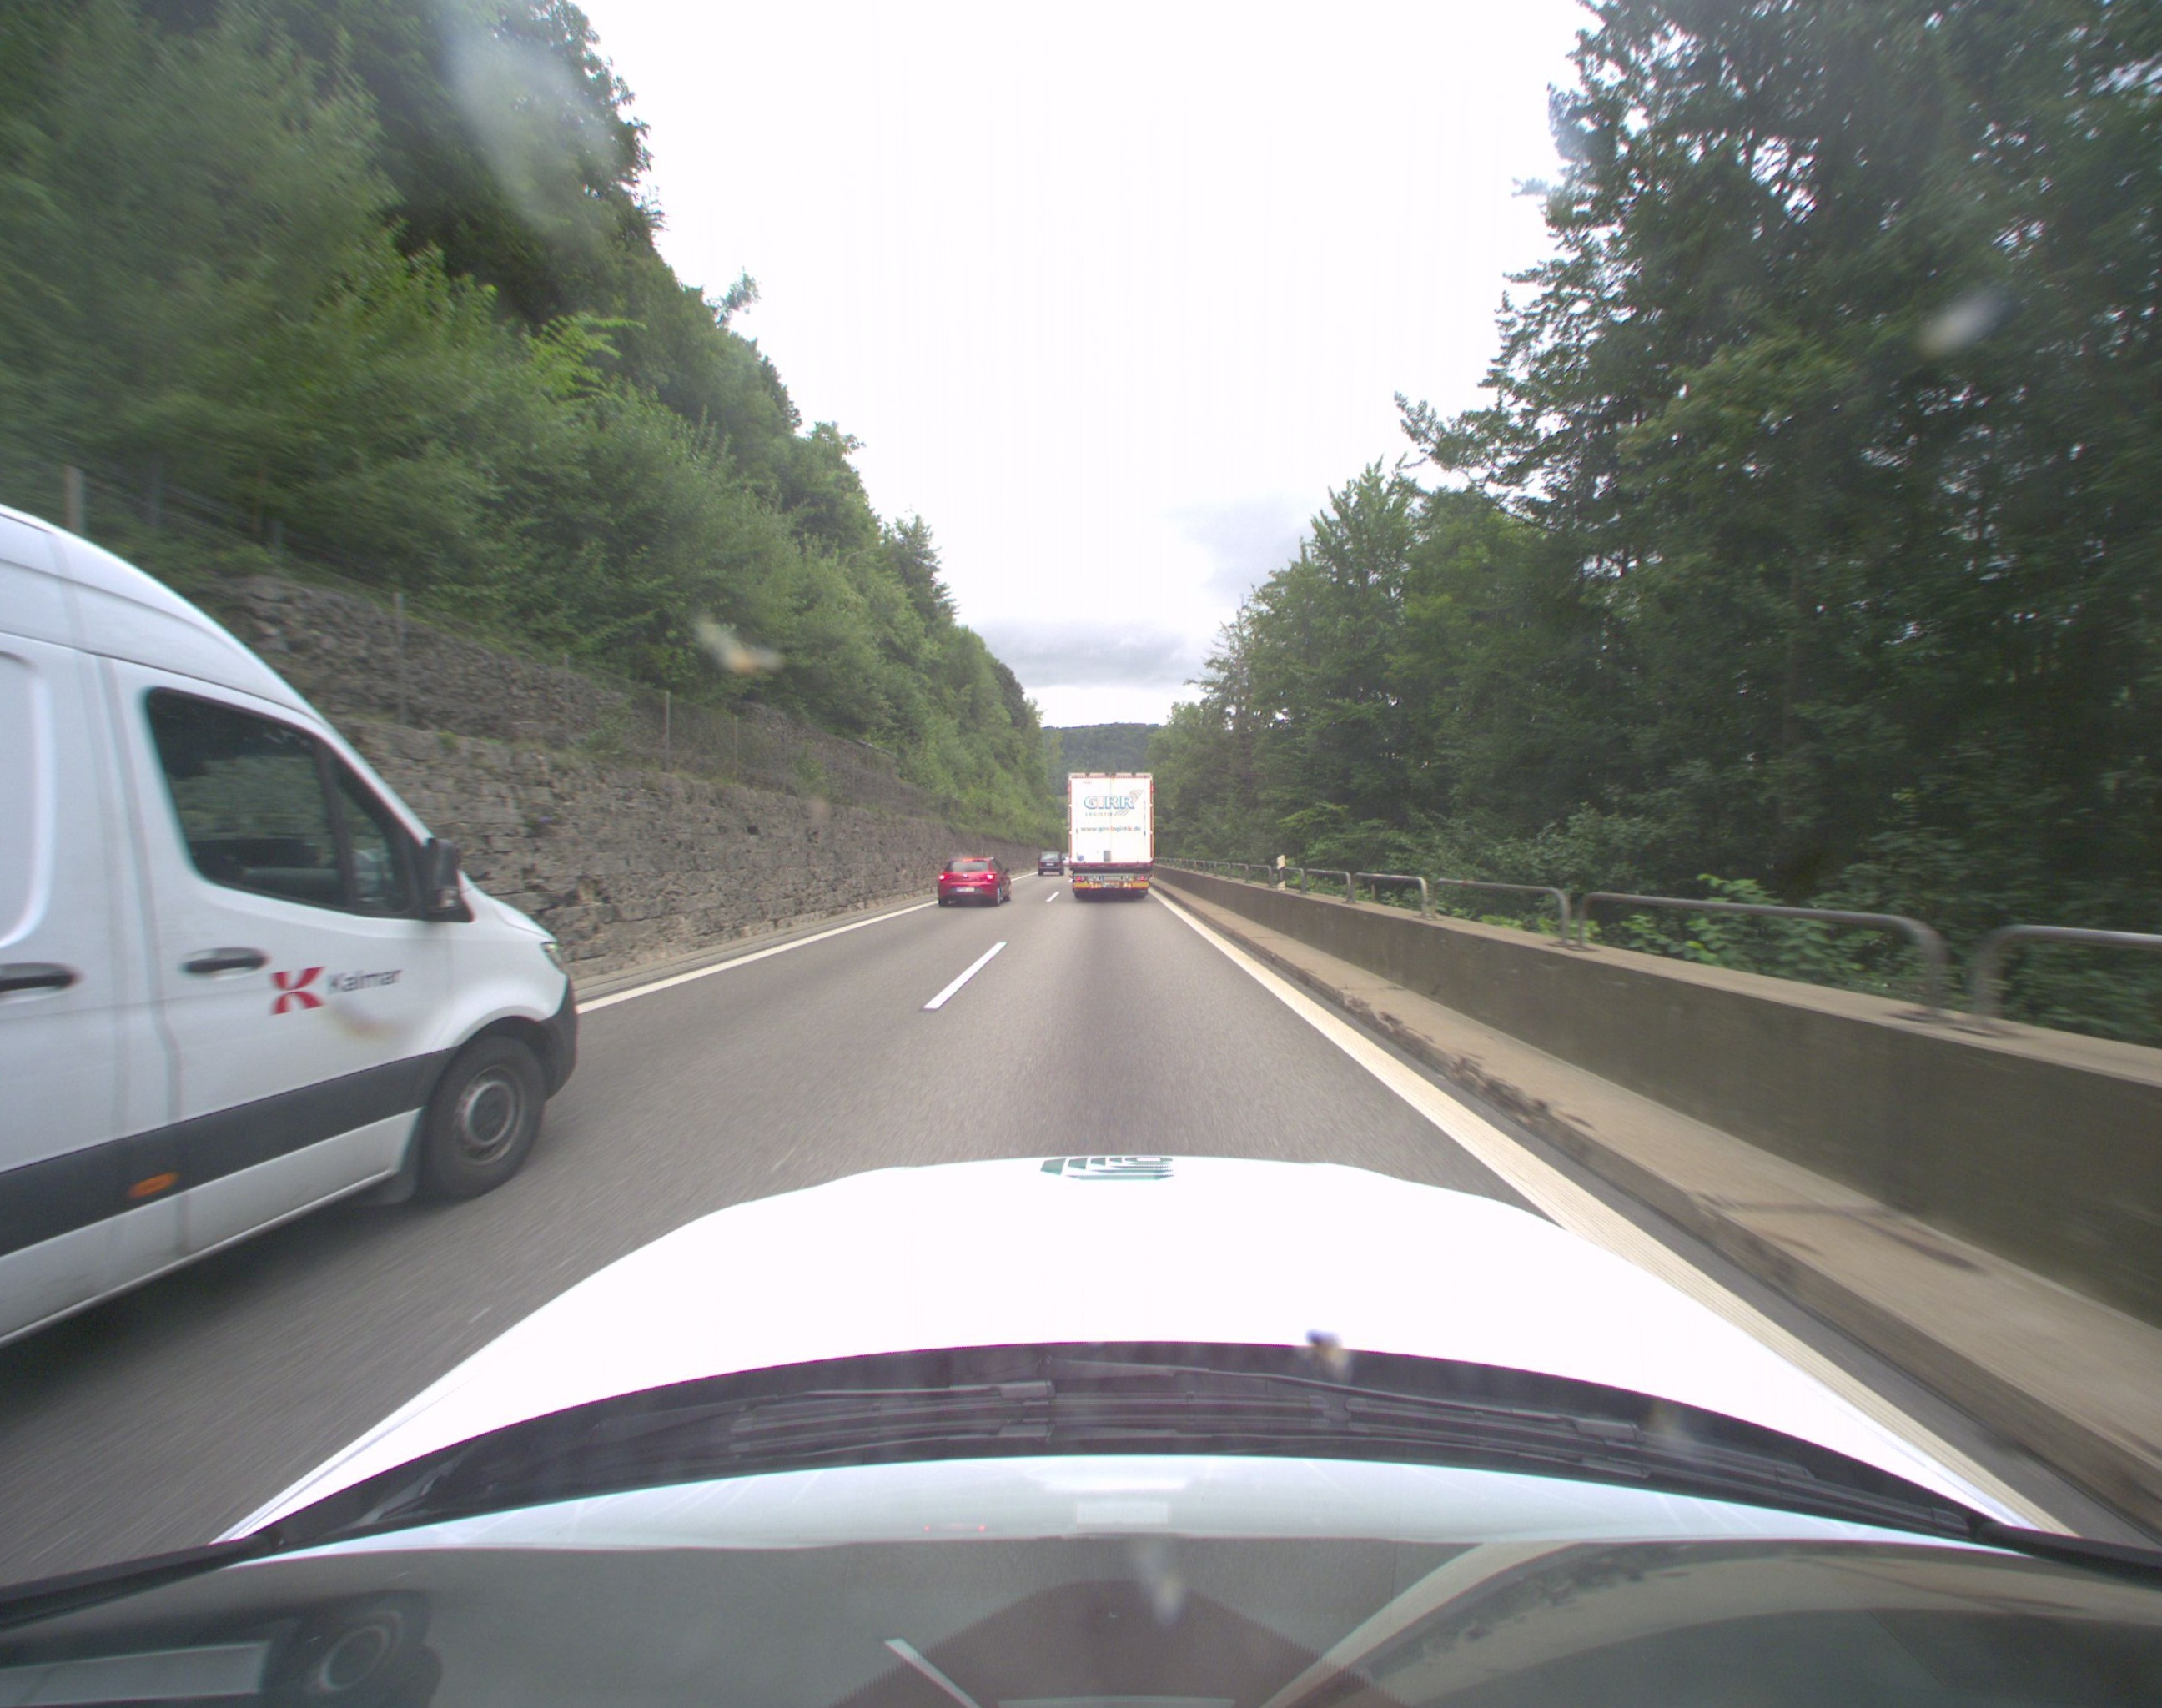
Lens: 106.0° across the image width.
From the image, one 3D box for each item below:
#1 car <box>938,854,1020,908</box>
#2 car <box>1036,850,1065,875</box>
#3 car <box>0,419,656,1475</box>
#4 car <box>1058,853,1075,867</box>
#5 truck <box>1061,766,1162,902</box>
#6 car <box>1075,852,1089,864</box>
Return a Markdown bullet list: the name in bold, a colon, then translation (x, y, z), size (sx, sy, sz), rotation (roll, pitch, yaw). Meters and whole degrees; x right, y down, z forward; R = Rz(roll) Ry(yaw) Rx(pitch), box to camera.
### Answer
- **car**: translation (-2.991, 0.775, 24.793), size (1.759, 1.460, 4.413), rotation (-1, -1, 2)
- **car**: translation (-2.072, 0.571, 56.339), size (1.662, 1.639, 4.070), rotation (-1, -1, 2)
- **car**: translation (-3.664, 0.234, 1.765), size (2.019, 2.585, 6.276), rotation (-1, -1, 1)
- **car**: translation (-1.618, 0.634, 90.541), size (1.723, 1.486, 4.001), rotation (-1, -1, 1)
- **truck**: translation (1.098, -0.570, 28.761), size (2.897, 3.960, 9.284), rotation (-1, 0, 2)
- **car**: translation (0.159, 0.577, 119.009), size (1.910, 1.595, 4.180), rotation (-1, -1, 1)
